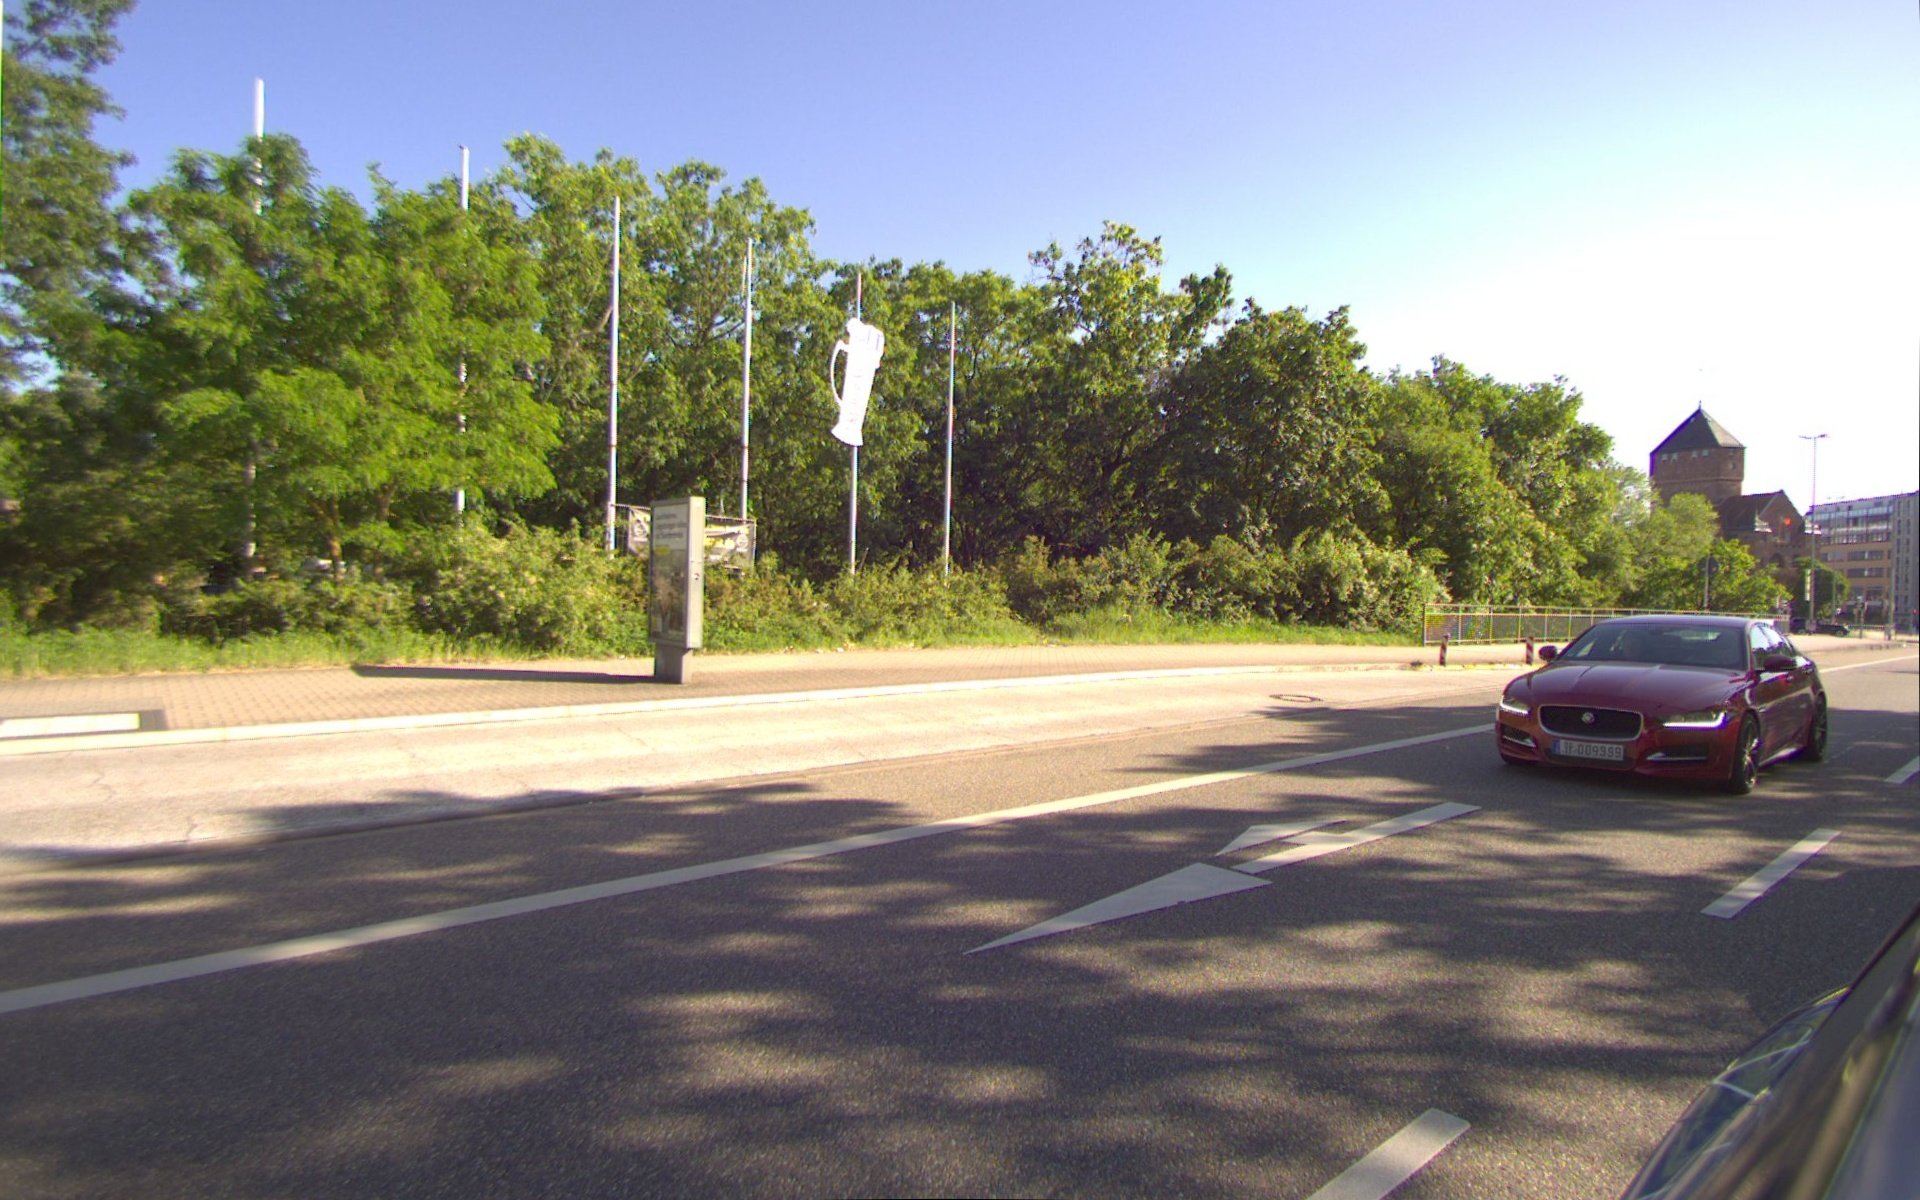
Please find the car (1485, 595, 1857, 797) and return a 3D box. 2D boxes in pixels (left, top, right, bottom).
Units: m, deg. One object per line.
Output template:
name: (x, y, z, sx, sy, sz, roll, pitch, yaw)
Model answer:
car: (6.884, 0.731, 9.622, 4.309, 1.446, 1.891, 1, 1, -41)
